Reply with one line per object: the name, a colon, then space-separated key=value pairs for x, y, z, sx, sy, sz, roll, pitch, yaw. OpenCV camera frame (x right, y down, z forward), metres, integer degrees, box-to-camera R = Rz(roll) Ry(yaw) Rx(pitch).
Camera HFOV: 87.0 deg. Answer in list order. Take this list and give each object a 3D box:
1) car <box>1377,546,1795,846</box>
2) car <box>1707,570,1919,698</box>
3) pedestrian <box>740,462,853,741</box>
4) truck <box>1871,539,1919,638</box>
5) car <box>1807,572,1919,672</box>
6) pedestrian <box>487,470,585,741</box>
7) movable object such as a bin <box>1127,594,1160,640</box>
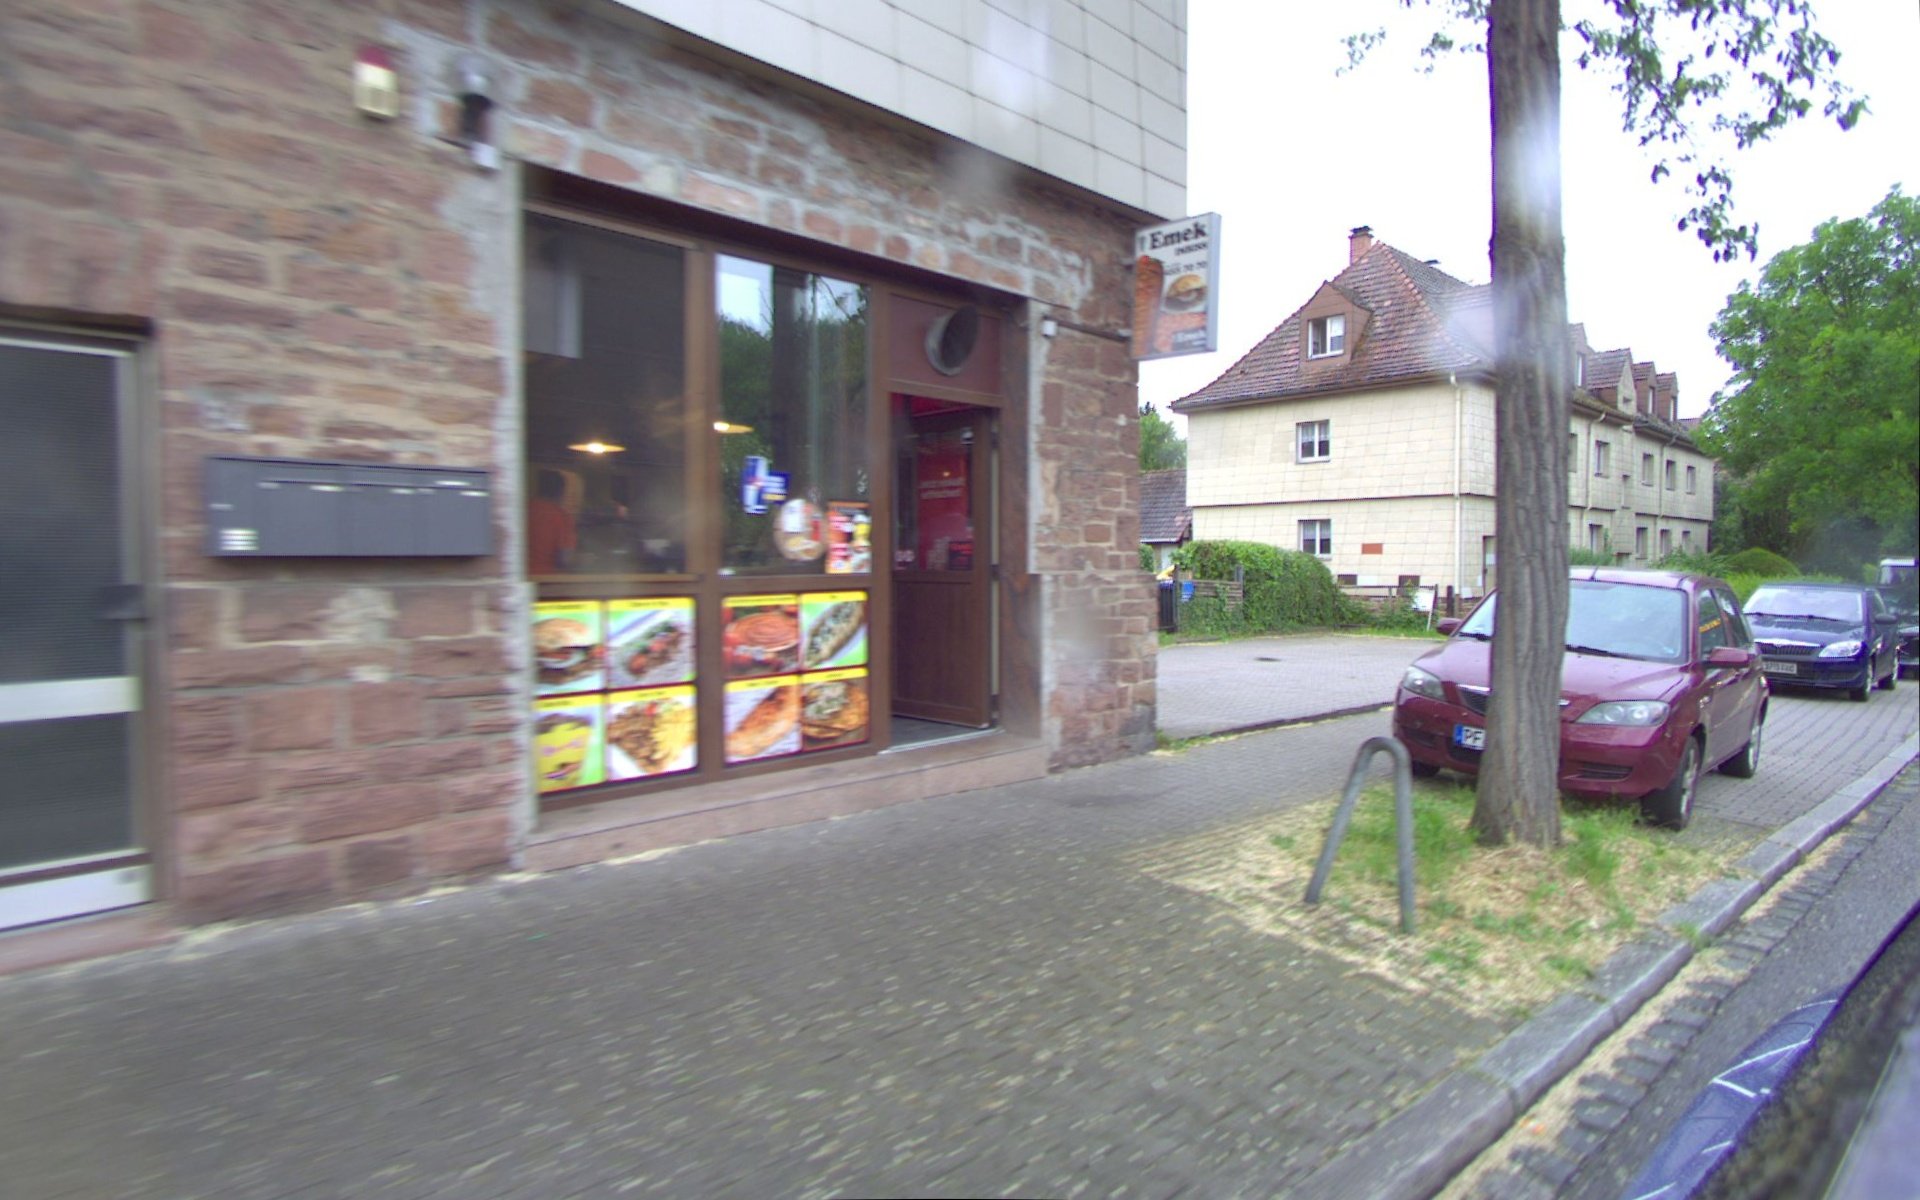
car: x=4.546 y=0.433 z=7.117 sx=3.695 sy=1.522 sz=1.611 roll=-3 pitch=2 yaw=-44
car: x=11.851 y=0.348 z=13.863 sx=3.930 sy=1.441 sz=1.719 roll=-1 pitch=4 yaw=-41
pedestrian: x=-1.113 y=0.002 z=6.824 sx=0.475 sy=1.751 sz=0.803 roll=-1 pitch=0 yaw=-30
truck: x=23.875 y=-0.263 z=24.421 sx=5.653 sy=2.224 sz=1.998 roll=0 pitch=2 yaw=-40
car: x=15.854 y=0.298 z=17.166 sx=3.932 sy=1.481 sz=1.719 roll=-1 pitch=4 yaw=-42
pedestrian: x=-2.771 y=0.028 z=6.610 sx=0.446 sy=1.681 sz=0.493 roll=-1 pitch=0 yaw=-40
movable object such as a bin: x=3.951 y=0.363 z=21.796 sx=0.441 sy=0.954 sz=0.539 roll=-1 pitch=0 yaw=-45
